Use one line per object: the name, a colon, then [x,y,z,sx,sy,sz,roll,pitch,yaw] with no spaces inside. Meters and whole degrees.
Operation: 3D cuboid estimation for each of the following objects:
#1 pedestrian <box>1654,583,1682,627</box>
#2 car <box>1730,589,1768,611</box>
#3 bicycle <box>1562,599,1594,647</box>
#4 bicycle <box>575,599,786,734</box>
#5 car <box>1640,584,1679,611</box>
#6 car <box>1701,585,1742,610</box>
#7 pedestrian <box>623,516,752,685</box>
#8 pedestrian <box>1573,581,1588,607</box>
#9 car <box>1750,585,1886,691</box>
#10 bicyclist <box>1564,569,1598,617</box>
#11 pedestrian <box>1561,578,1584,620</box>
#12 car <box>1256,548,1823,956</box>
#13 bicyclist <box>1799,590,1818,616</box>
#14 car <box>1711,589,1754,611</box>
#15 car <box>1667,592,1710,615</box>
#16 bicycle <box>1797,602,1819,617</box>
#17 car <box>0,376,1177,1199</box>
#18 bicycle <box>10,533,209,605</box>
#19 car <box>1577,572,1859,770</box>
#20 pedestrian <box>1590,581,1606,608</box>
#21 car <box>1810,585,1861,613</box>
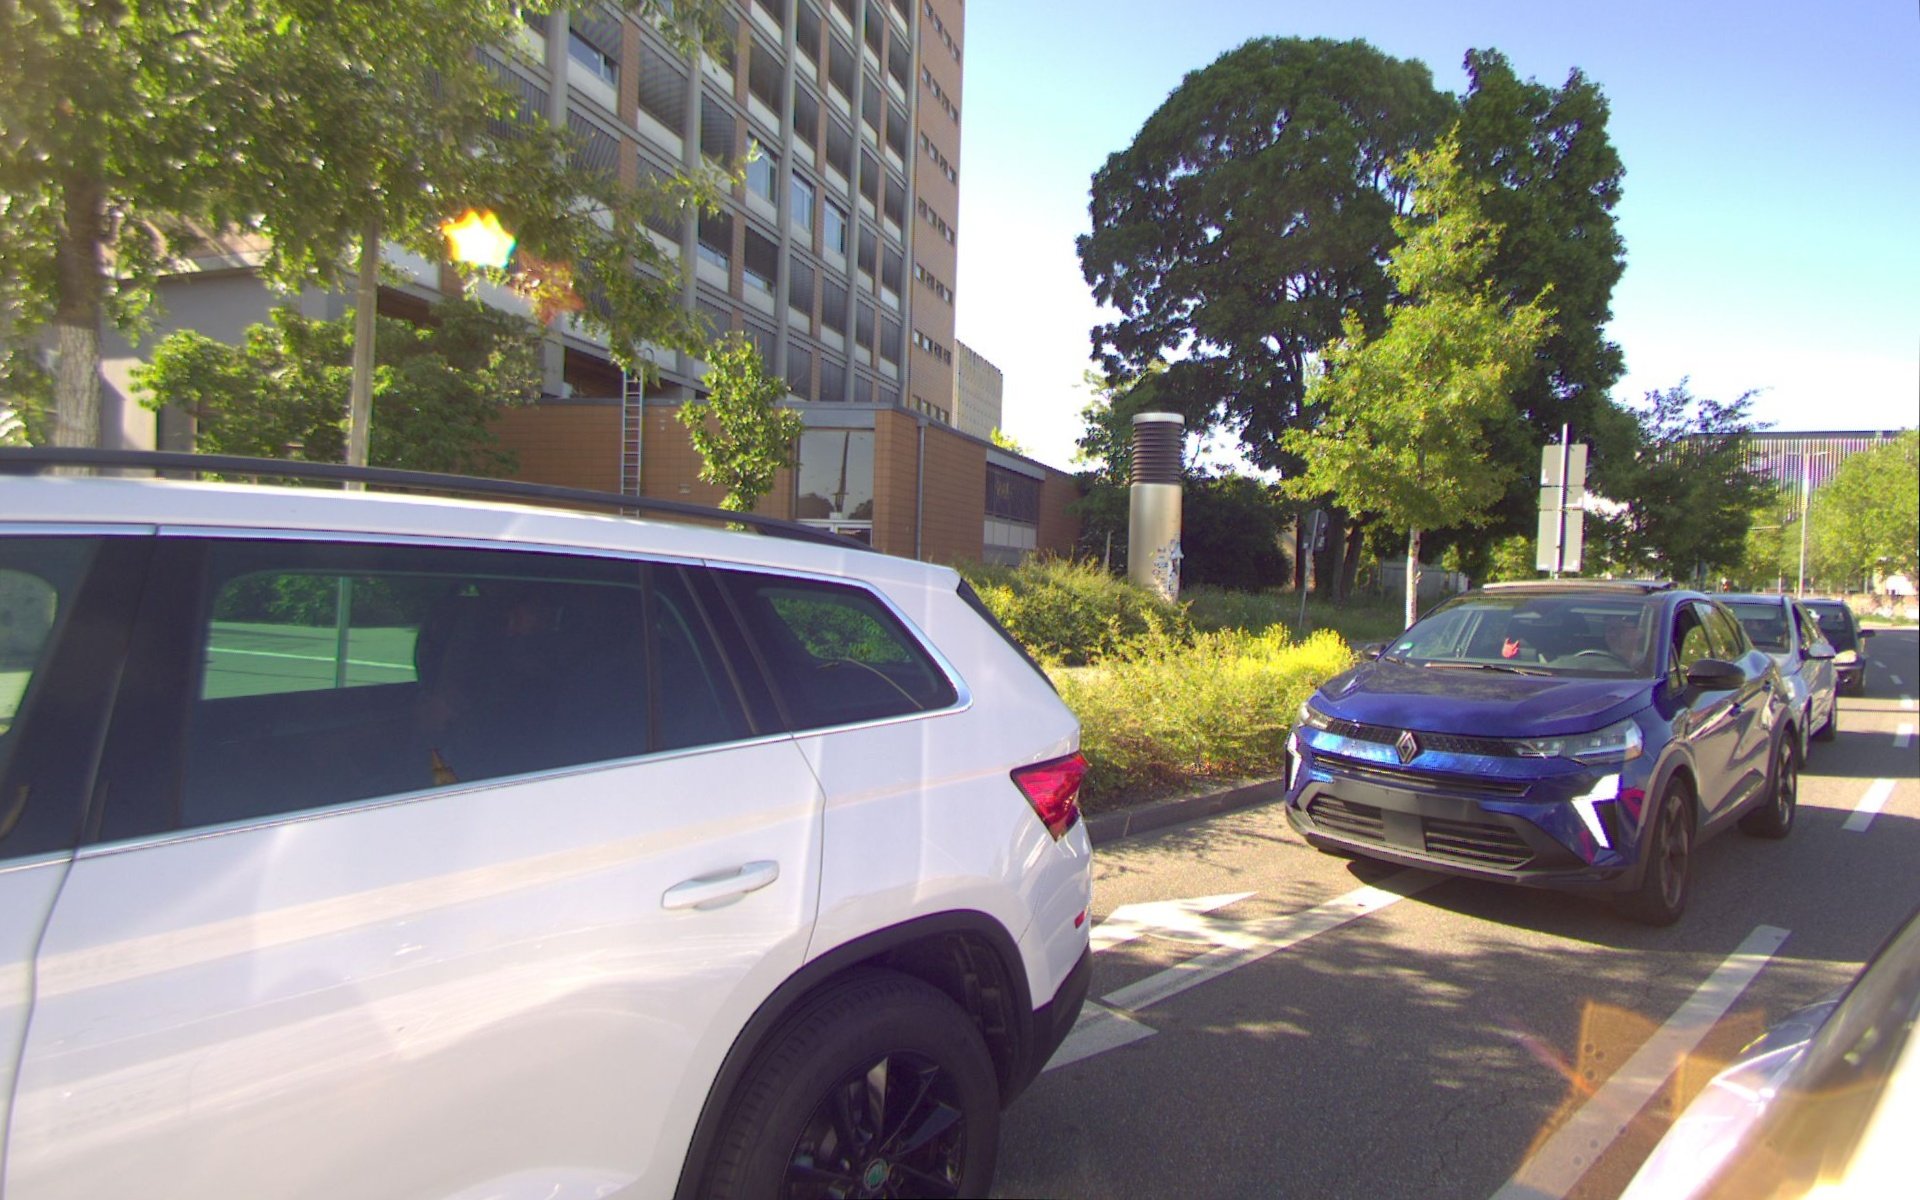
pedestrian: [27.006,0.189,38.594,0.685,1.624,0.656,2,1,22]
car: [61.864,-0.010,79.369,1.578,1.625,3.048,2,1,23]
bicycle: [17.538,0.623,28.731,0.687,1.232,1.814,4,3,31]
bicycle: [-2.447,0.540,9.002,1.738,1.057,0.517,0,4,-43]
car: [51.303,-0.179,74.283,1.811,1.876,3.717,2,1,27]
car: [65.032,-0.267,86.496,1.767,2.039,4.201,1,1,22]
pedestrian: [-2.423,-0.011,9.036,0.945,1.419,0.517,0,3,-43]
pedestrian: [45.738,-0.431,74.634,0.811,1.941,0.767,0,0,20]
car: [15.161,0.597,17.829,1.646,1.631,3.435,3,2,43]
bicyclist: [17.583,-0.211,28.664,0.717,1.294,0.897,4,3,31]
pedestrian: [23.835,-0.041,39.388,0.687,1.624,0.654,2,1,31]
car: [3.628,0.594,6.009,4.013,1.626,1.704,0,1,-41]
bicyclist: [52.111,0.157,62.184,0.688,1.578,0.809,0,0,25]
car: [52.466,0.000,68.787,1.736,1.396,3.540,1,1,27]
car: [48.542,0.209,67.488,1.735,1.494,3.542,0,1,26]
bicycle: [52.087,0.597,62.176,0.584,0.900,1.640,0,0,25]
car: [-1.616,0.567,1.673,4.223,1.662,1.697,0,2,-42]
bicycle: [-17.546,-0.626,21.015,0.790,1.394,3.111,2,1,26]
car: [8.064,0.587,10.624,3.977,1.644,1.782,0,2,-45]
pedestrian: [46.619,-0.424,73.924,0.811,1.941,0.767,0,0,20]
car: [55.897,-0.076,64.688,1.509,1.700,3.353,1,0,24]
